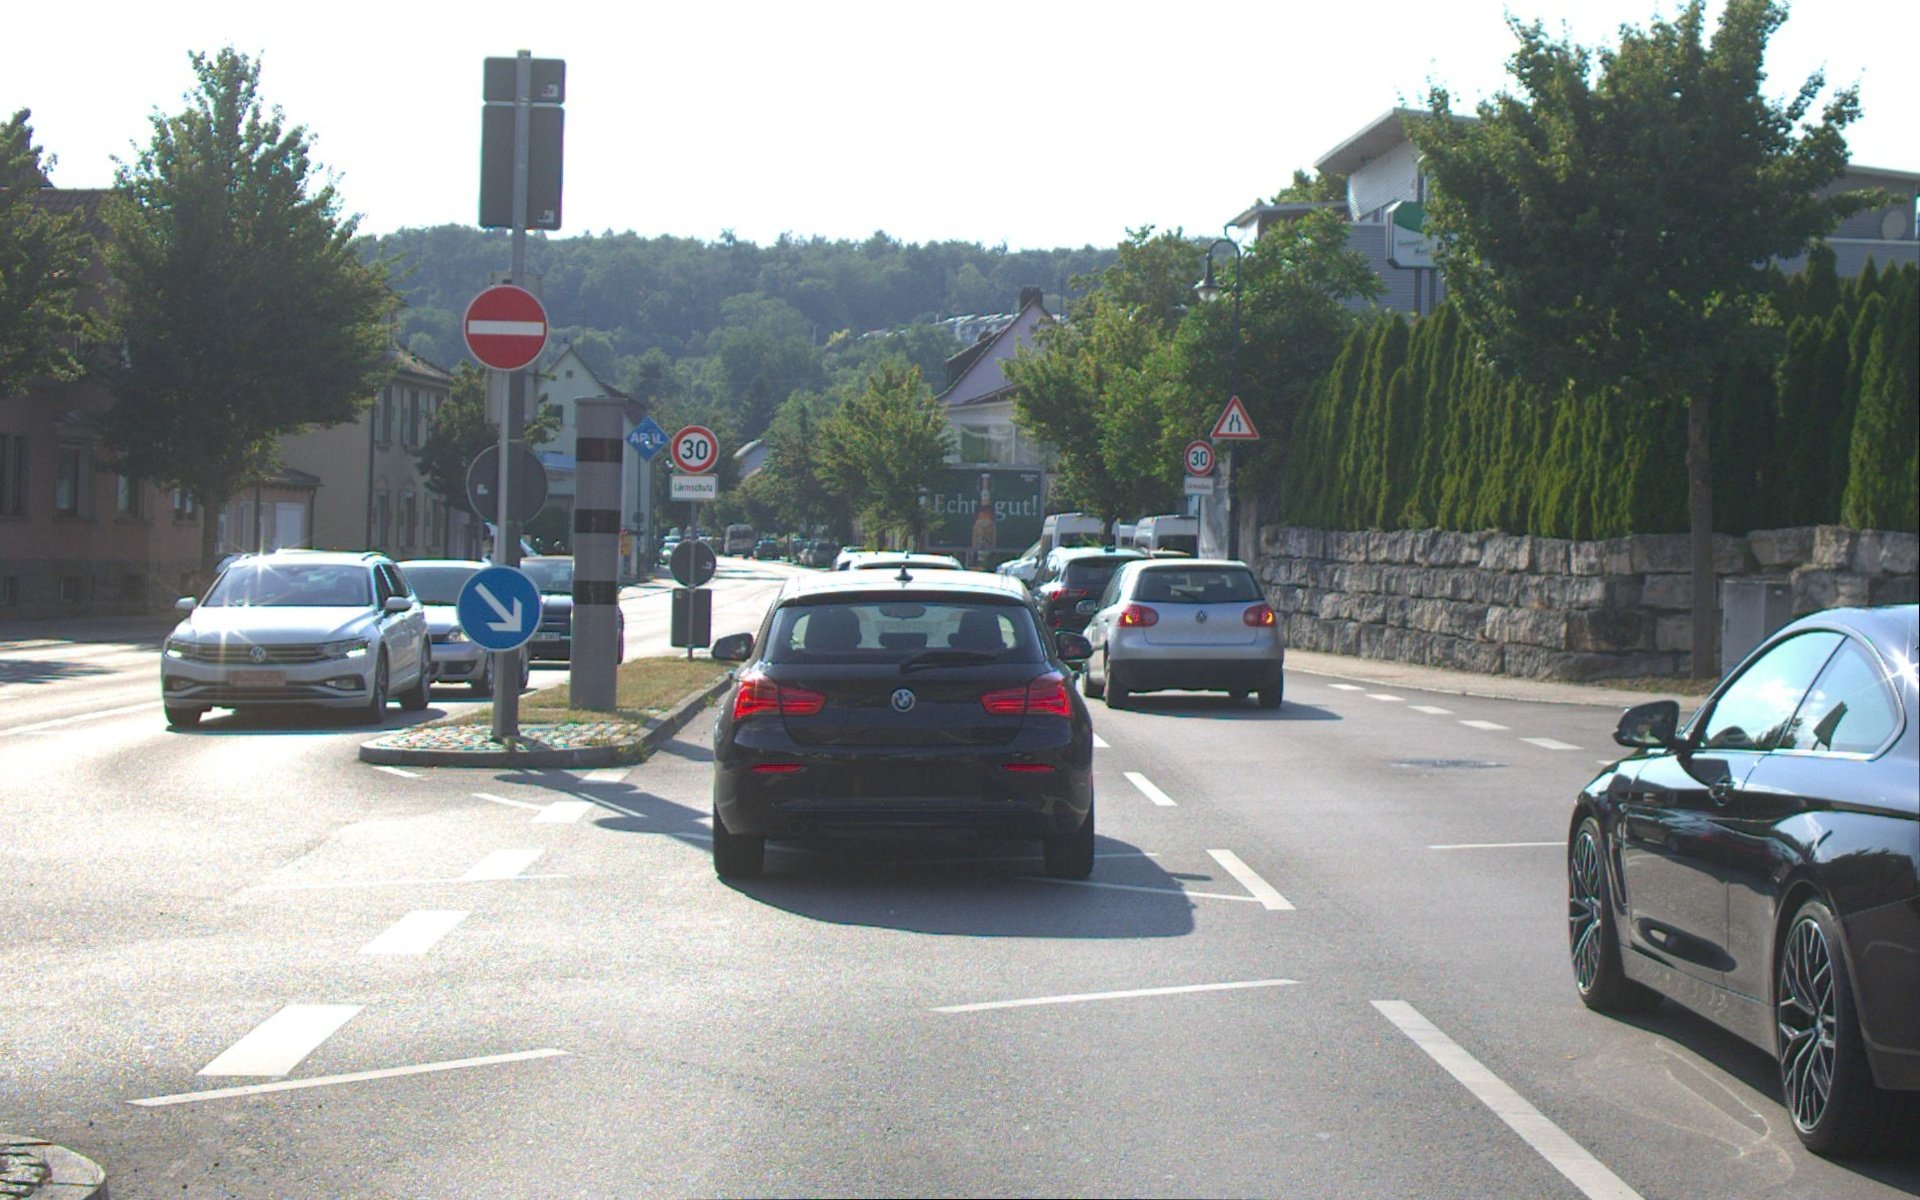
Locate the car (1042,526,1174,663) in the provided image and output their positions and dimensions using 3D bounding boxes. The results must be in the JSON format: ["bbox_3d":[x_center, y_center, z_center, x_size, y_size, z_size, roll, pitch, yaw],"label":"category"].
[{"bbox_3d":[1.980,-0.108,46.721,1.603,1.761,3.411,1,1,-1],"label":"car"}]

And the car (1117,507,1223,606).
[{"bbox_3d":[5.949,-1.283,98.205,2.111,2.712,6.444,0,1,-5],"label":"car"}]

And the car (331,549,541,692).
[{"bbox_3d":[-5.475,0.186,36.247,1.589,1.422,3.578,0,1,1],"label":"car"}]

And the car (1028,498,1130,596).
[{"bbox_3d":[3.340,-1.538,97.960,2.149,2.671,6.604,0,1,-4],"label":"car"}]

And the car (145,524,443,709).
[{"bbox_3d":[-5.772,0.086,30.316,1.835,1.483,4.567,1,1,-1],"label":"car"}]

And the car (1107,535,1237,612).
[{"bbox_3d":[4.675,-0.614,76.351,1.834,1.643,4.540,1,1,-10],"label":"car"}]

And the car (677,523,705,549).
[{"bbox_3d":[-16.129,-3.835,206.111,1.596,1.480,3.475,1,1,-4],"label":"car"}]

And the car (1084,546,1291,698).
[{"bbox_3d":[2.237,0.187,34.616,1.753,1.409,3.422,1,1,-2],"label":"car"}]

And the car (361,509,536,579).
[{"bbox_3d":[-18.943,-2.083,127.486,6.158,2.436,2.250,1,1,-2],"label":"car"}]

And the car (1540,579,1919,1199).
[{"bbox_3d":[2.898,0.666,9.671,1.699,1.364,4.263,0,1,-2],"label":"car"}]

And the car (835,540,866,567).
[{"bbox_3d":[-6.177,-2.630,194.039,1.596,1.480,3.475,1,1,-4],"label":"car"}]

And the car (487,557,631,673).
[{"bbox_3d":[-5.413,0.175,46.741,1.532,1.457,3.506,1,1,0],"label":"car"}]

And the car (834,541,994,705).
[{"bbox_3d":[-0.517,0.199,36.429,1.591,1.595,3.894,1,1,-2],"label":"car"}]

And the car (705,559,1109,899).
[{"bbox_3d":[-0.281,0.545,16.898,1.771,1.451,3.516,0,1,-2],"label":"car"}]
